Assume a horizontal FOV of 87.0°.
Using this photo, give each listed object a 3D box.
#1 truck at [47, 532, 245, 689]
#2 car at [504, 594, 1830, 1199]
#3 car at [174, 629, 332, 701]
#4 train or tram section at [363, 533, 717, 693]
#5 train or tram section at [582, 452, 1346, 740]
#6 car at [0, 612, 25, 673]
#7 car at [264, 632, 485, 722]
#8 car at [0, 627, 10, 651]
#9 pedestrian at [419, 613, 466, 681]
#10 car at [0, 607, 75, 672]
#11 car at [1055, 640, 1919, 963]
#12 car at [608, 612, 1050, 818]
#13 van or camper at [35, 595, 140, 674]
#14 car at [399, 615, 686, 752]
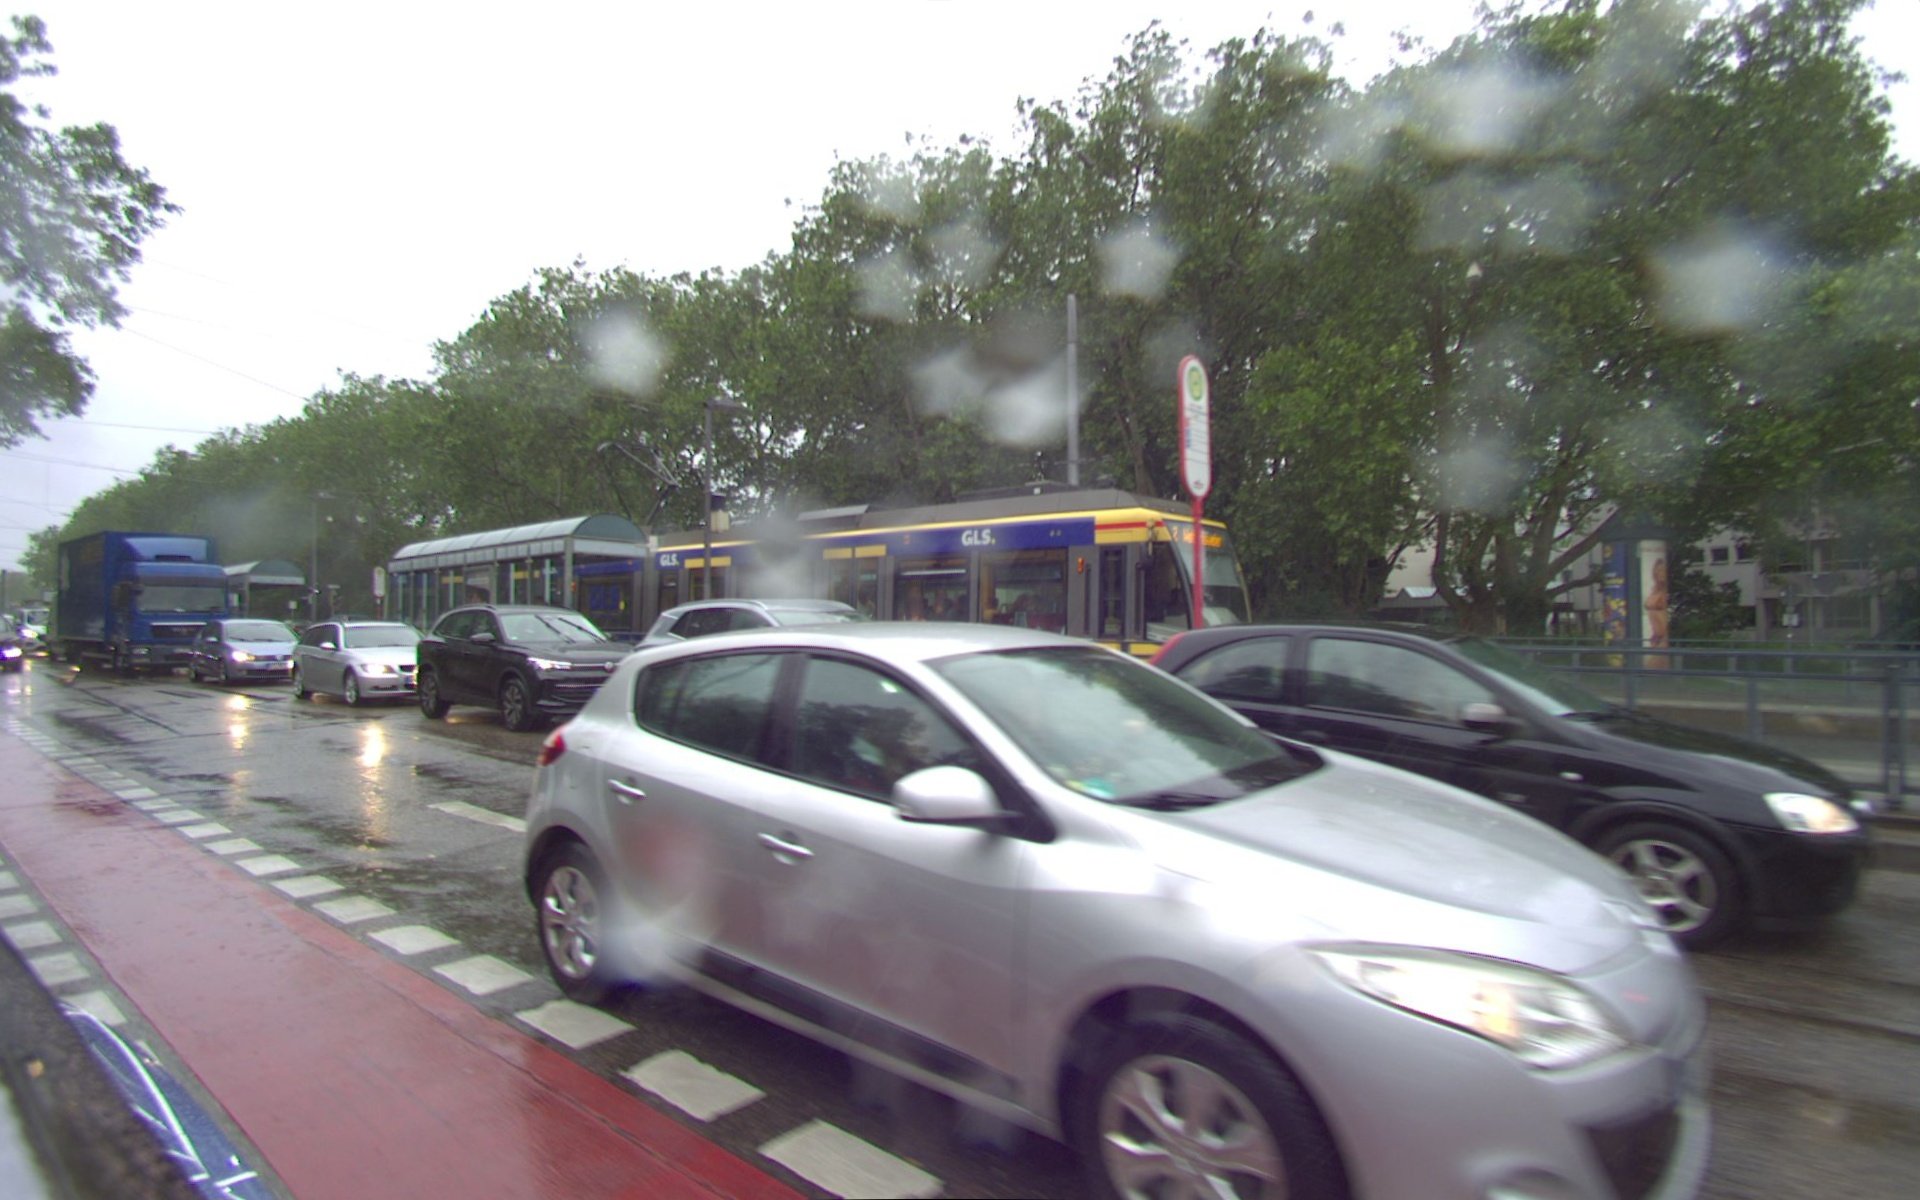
[{"bbox_3d":[-23.879,0.380,29.419,9.804,3.919,2.513,-1,-3,40],"label":"truck"},{"bbox_3d":[0.265,0.762,3.397,3.998,1.489,1.750,-1,-1,41],"label":"car"},{"bbox_3d":[-16.255,1.415,23.222,4.072,1.498,1.871,-1,-2,38],"label":"car"},{"bbox_3d":[-12.275,0.363,28.205,13.654,3.539,3.476,-1,0,42],"label":"train or tram section"},{"bbox_3d":[-1.366,0.035,18.538,15.497,3.438,3.504,-1,0,41],"label":"train or tram section"},{"bbox_3d":[-28.245,1.211,29.104,3.678,1.679,1.732,-1,-1,43],"label":"car"},{"bbox_3d":[-10.640,1.300,18.262,4.603,1.405,1.973,-1,-3,40],"label":"car"},{"bbox_3d":[-51.347,2.069,53.349,3.613,1.201,1.448,-1,-1,41],"label":"car"},{"bbox_3d":[-11.140,1.001,21.796,0.750,1.429,0.626,-1,0,40],"label":"pedestrian"},{"bbox_3d":[-38.442,1.587,42.059,5.728,2.445,1.972,-1,0,43],"label":"car"},{"bbox_3d":[2.618,0.833,5.636,4.085,1.126,1.448,-1,-1,41],"label":"car"},{"bbox_3d":[-1.465,0.965,10.203,4.450,1.636,1.895,-1,-2,39],"label":"car"},{"bbox_3d":[-31.740,1.200,36.745,6.428,2.590,1.973,-1,0,41],"label":"van or camper"},{"bbox_3d":[-5.960,1.049,14.233,4.317,1.633,1.973,-1,-2,40],"label":"car"}]
